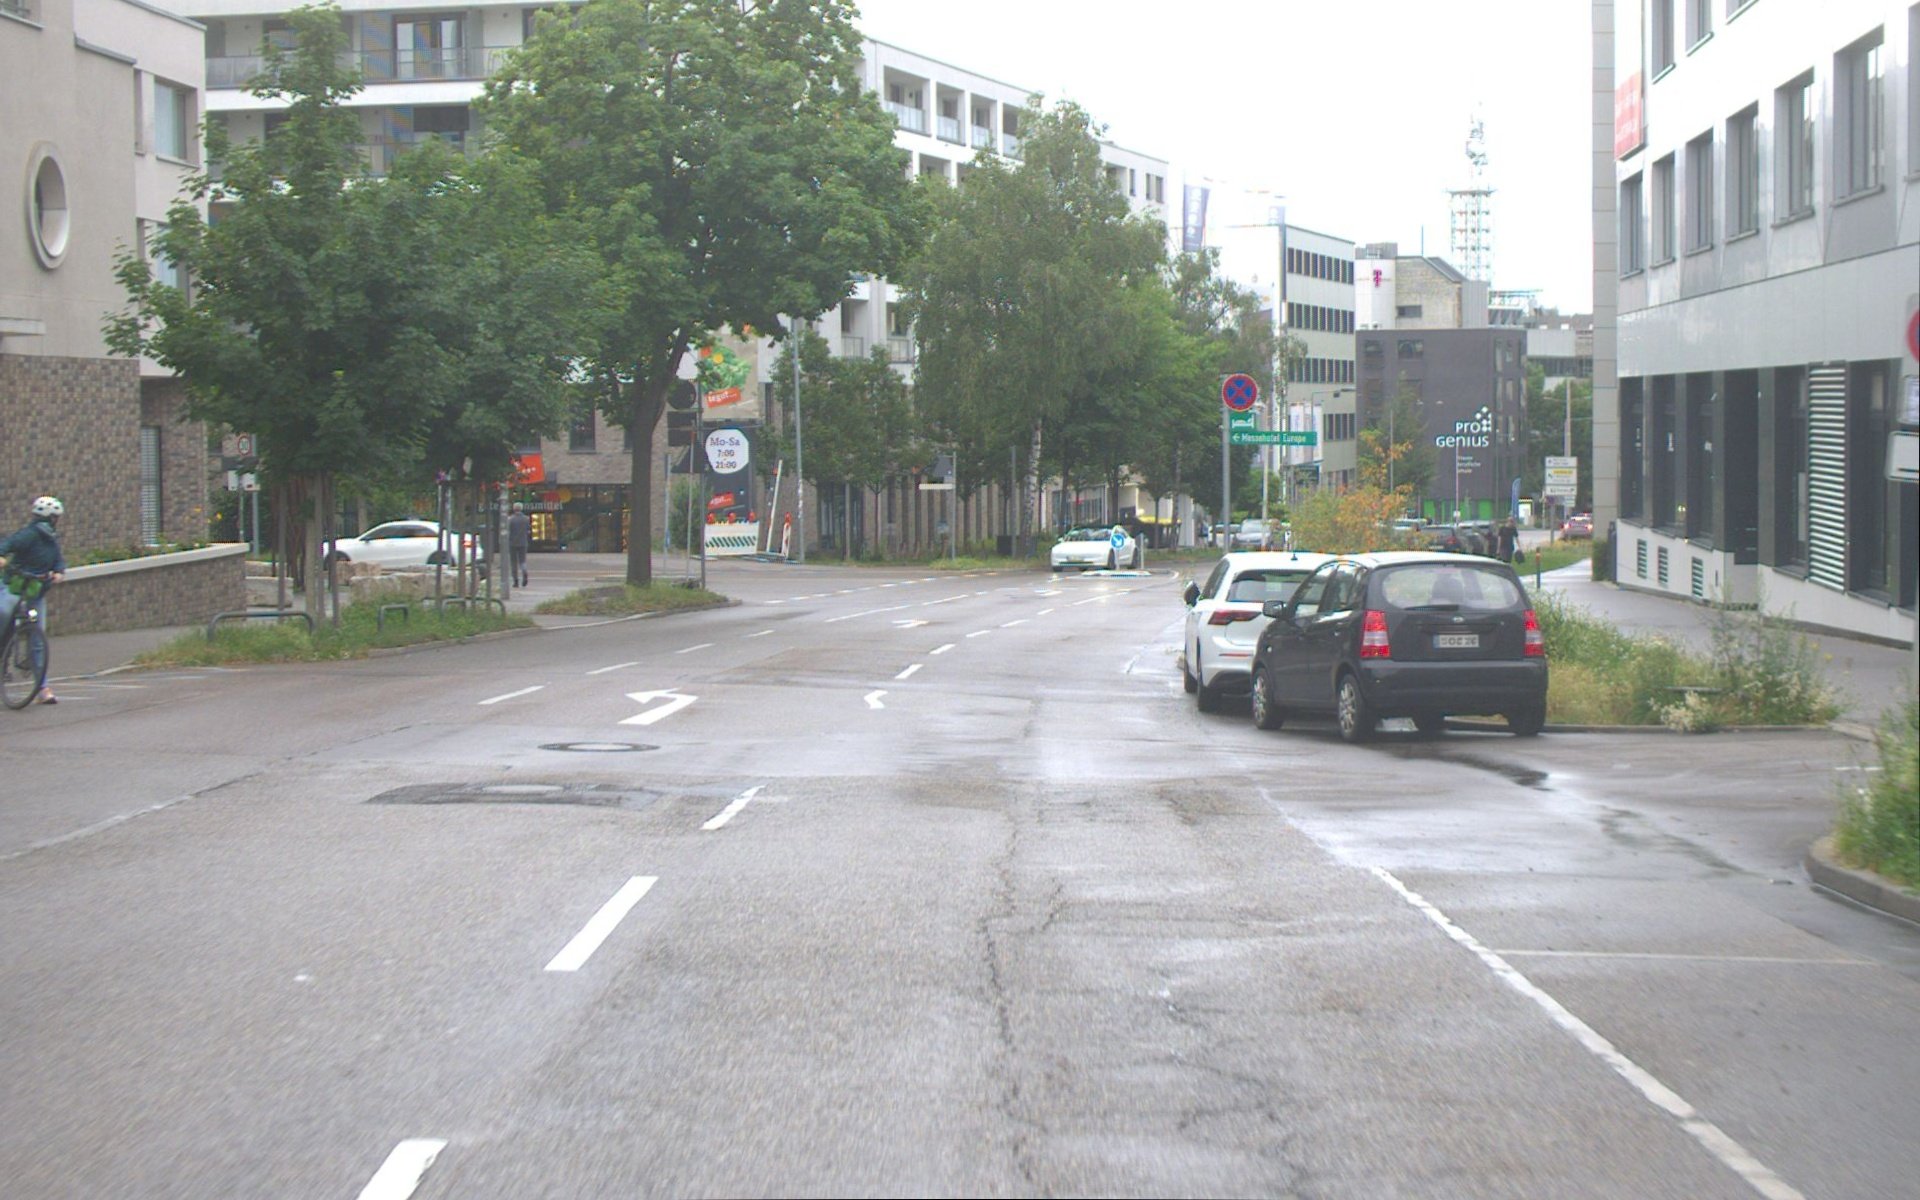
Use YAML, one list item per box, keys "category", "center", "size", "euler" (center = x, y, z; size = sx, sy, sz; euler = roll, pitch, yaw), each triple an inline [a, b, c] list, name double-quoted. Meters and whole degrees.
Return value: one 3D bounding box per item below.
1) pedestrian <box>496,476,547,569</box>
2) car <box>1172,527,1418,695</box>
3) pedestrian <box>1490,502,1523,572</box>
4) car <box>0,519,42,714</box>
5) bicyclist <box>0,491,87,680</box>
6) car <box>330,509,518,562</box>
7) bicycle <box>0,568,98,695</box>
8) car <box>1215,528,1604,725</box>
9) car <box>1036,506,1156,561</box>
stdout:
- category: "pedestrian"
  center: [-9.631, -1.708, 75.531]
  size: [1.055, 2.007, 1.100]
  euler: [1, 1, -6]
- category: "car"
  center: [3.166, 0.054, 33.300]
  size: [2.039, 1.459, 4.503]
  euler: [1, 1, 2]
- category: "pedestrian"
  center: [14.107, -1.629, 88.703]
  size: [0.823, 1.790, 1.207]
  euler: [0, 1, 9]
- category: "car"
  center: [-8.131, 0.118, 24.779]
  size: [1.879, 1.458, 3.847]
  euler: [1, 1, 2]
- category: "bicyclist"
  center: [-7.738, -0.132, 28.388]
  size: [0.801, 1.517, 1.202]
  euler: [1, 1, -4]
- category: "car"
  center: [-14.112, -1.700, 90.728]
  size: [4.687, 1.288, 2.000]
  euler: [1, 1, -3]
- category: "bicycle"
  center: [-7.730, 0.238, 28.326]
  size: [0.801, 0.975, 2.255]
  euler: [1, 1, -3]
- category: "car"
  center: [3.609, 0.168, 28.386]
  size: [2.043, 1.453, 4.056]
  euler: [1, 1, -10]
- category: "car"
  center: [4.228, -2.049, 105.991]
  size: [2.060, 1.655, 4.815]
  euler: [1, 1, 24]
